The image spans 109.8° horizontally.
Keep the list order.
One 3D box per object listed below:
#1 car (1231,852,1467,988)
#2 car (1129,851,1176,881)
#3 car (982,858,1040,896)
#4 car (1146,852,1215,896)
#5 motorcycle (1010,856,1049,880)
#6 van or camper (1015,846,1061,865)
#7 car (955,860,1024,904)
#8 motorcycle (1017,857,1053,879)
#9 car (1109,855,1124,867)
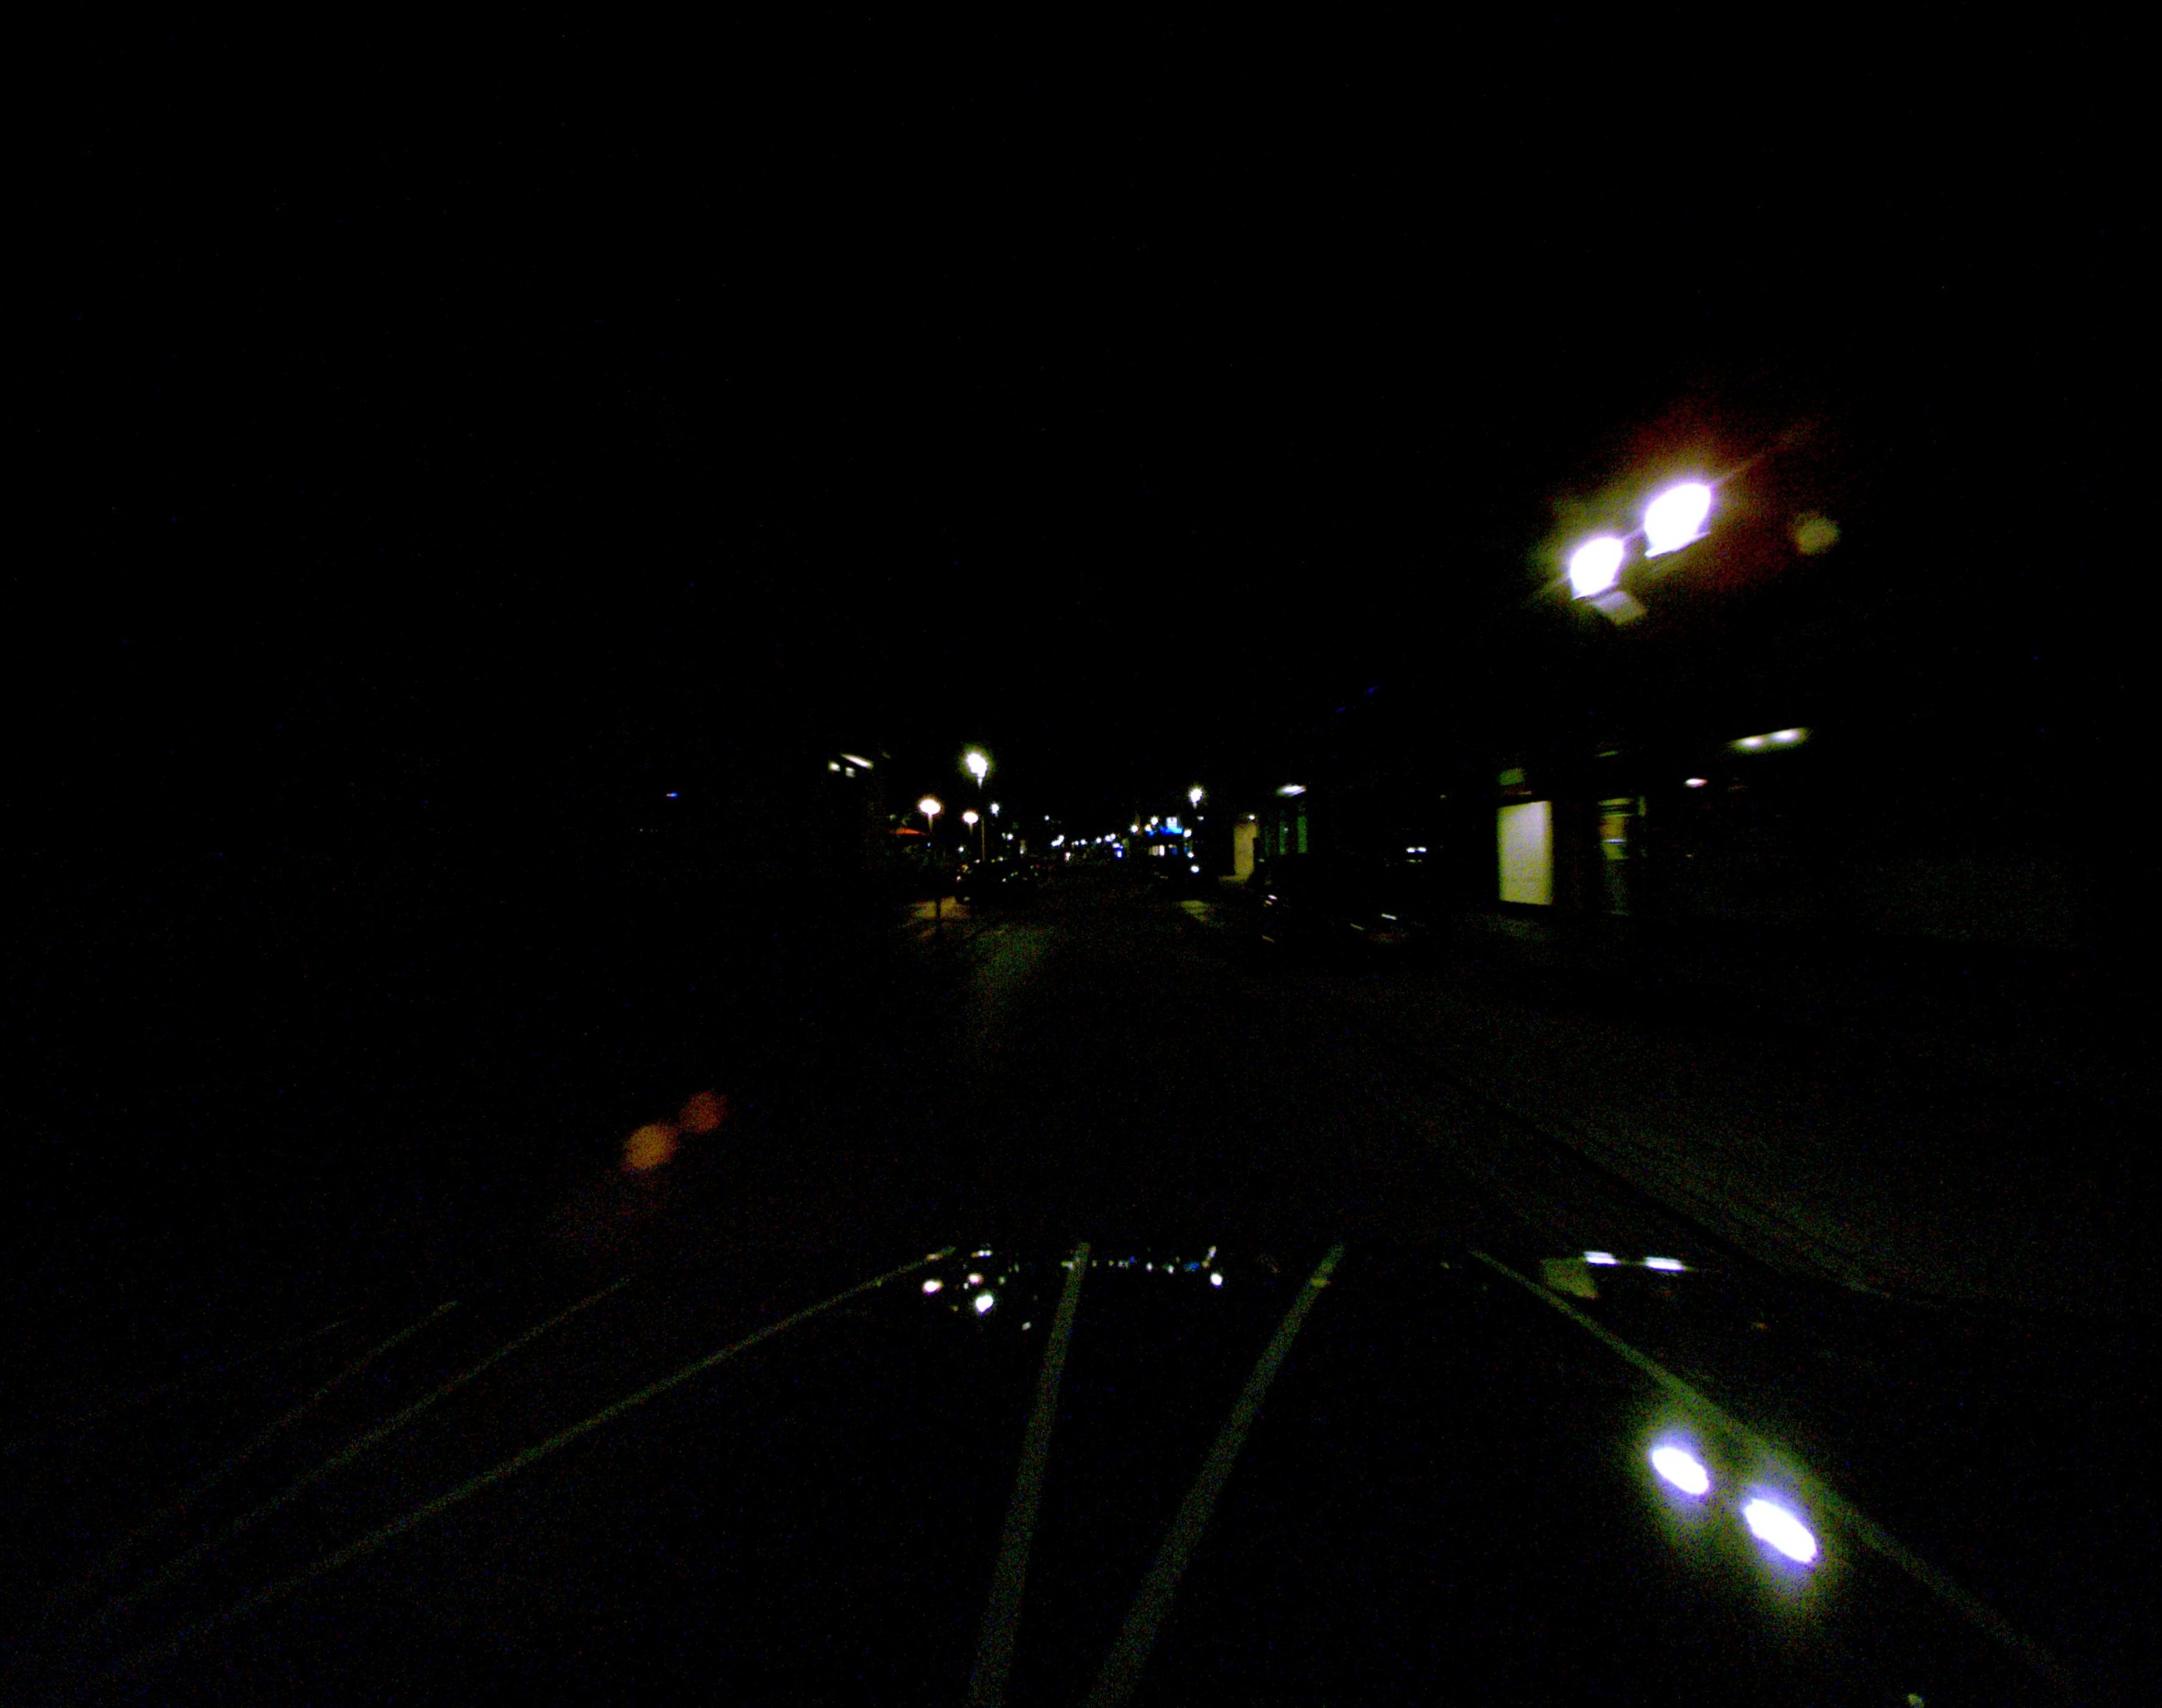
[{"bbox_3d":[3.496,0.754,10.856,1.802,1.469,4.321,-3,0,0],"label":"car"},{"bbox_3d":[3.790,0.605,41.004,1.905,1.462,4.524,-2,0,-2],"label":"car"},{"bbox_3d":[-2.866,0.907,32.010,1.757,1.455,4.467,0,0,4],"label":"car"},{"bbox_3d":[3.690,0.701,28.982,1.850,1.455,4.622,-3,0,-2],"label":"car"},{"bbox_3d":[-3.035,0.806,44.648,2.265,1.383,0.662,-1,1,25],"label":"motorcycle"},{"bbox_3d":[-6.058,0.216,107.147,6.061,2.518,2.157,-2,0,-30],"label":"van or camper"},{"bbox_3d":[-3.153,0.941,26.880,1.665,1.369,4.105,0,0,4],"label":"car"},{"bbox_3d":[-2.804,0.863,45.898,2.165,1.290,0.516,-1,1,27],"label":"motorcycle"},{"bbox_3d":[4.664,0.907,99.738,1.655,1.417,4.014,-4,0,-1],"label":"car"}]
